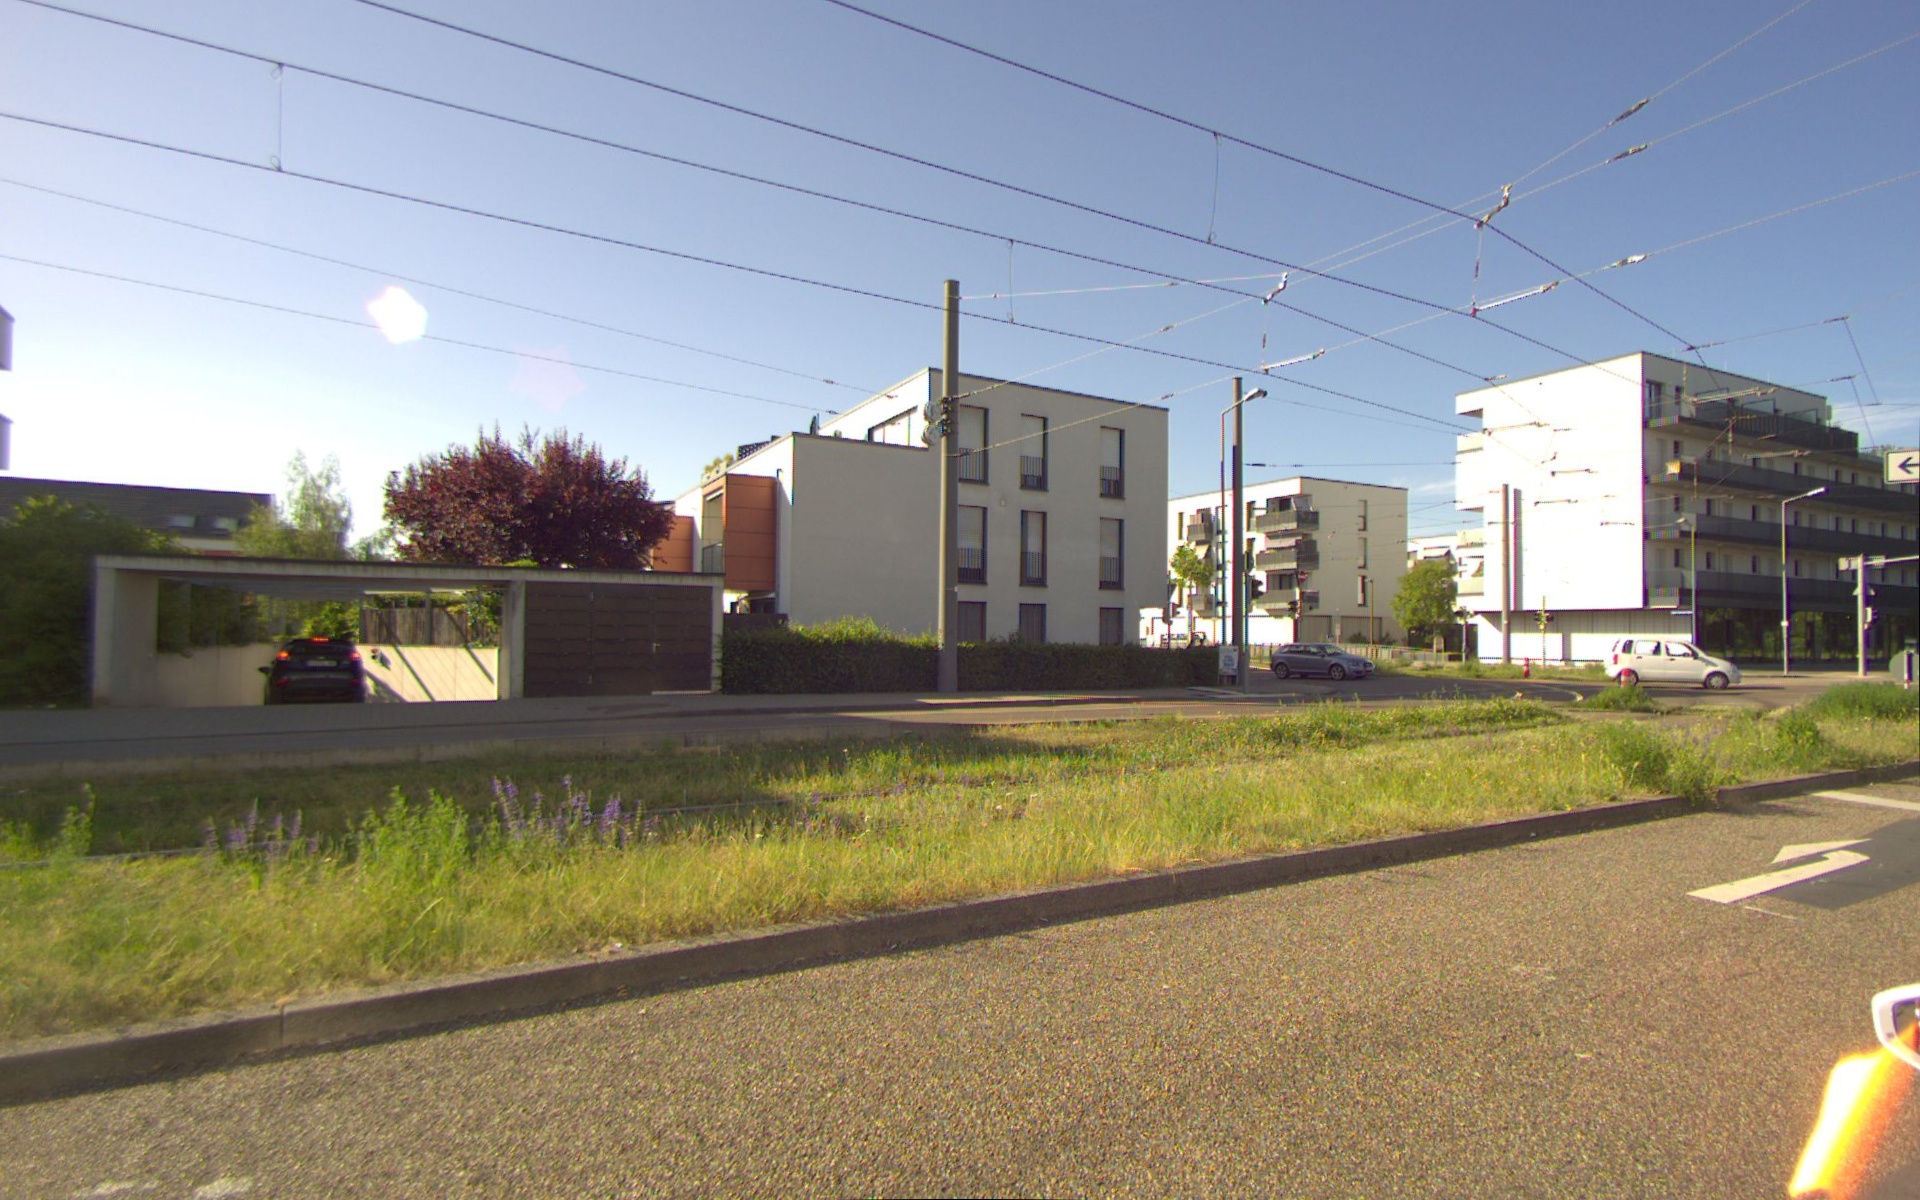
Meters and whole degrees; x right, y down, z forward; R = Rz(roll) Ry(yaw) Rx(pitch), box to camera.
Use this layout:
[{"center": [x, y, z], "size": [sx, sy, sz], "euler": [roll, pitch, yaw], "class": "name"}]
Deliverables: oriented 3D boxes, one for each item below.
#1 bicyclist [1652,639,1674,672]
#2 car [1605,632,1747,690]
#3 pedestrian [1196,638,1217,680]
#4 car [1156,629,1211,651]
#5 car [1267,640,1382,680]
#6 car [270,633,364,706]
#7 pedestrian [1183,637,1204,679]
[{"center": [34.926, 2.754, 49.926], "size": [0.777, 1.635, 0.635], "euler": [2, 0, -34], "class": "bicyclist"}, {"center": [23.238, 1.925, 32.778], "size": [3.621, 1.743, 1.866], "euler": [0, -1, 31], "class": "car"}, {"center": [9.934, 2.368, 40.471], "size": [0.758, 1.626, 0.743], "euler": [2, 0, 17], "class": "pedestrian"}, {"center": [17.814, 3.192, 80.281], "size": [1.974, 1.595, 4.309], "euler": [2, 0, -27], "class": "car"}, {"center": [14.562, 2.359, 40.327], "size": [1.851, 1.505, 4.070], "euler": [2, -2, -35], "class": "car"}, {"center": [-13.950, 1.550, 21.768], "size": [1.560, 1.344, 3.966], "euler": [2, -7, -33], "class": "car"}, {"center": [9.546, 2.360, 41.105], "size": [0.758, 1.626, 0.743], "euler": [2, 0, 17], "class": "pedestrian"}]
